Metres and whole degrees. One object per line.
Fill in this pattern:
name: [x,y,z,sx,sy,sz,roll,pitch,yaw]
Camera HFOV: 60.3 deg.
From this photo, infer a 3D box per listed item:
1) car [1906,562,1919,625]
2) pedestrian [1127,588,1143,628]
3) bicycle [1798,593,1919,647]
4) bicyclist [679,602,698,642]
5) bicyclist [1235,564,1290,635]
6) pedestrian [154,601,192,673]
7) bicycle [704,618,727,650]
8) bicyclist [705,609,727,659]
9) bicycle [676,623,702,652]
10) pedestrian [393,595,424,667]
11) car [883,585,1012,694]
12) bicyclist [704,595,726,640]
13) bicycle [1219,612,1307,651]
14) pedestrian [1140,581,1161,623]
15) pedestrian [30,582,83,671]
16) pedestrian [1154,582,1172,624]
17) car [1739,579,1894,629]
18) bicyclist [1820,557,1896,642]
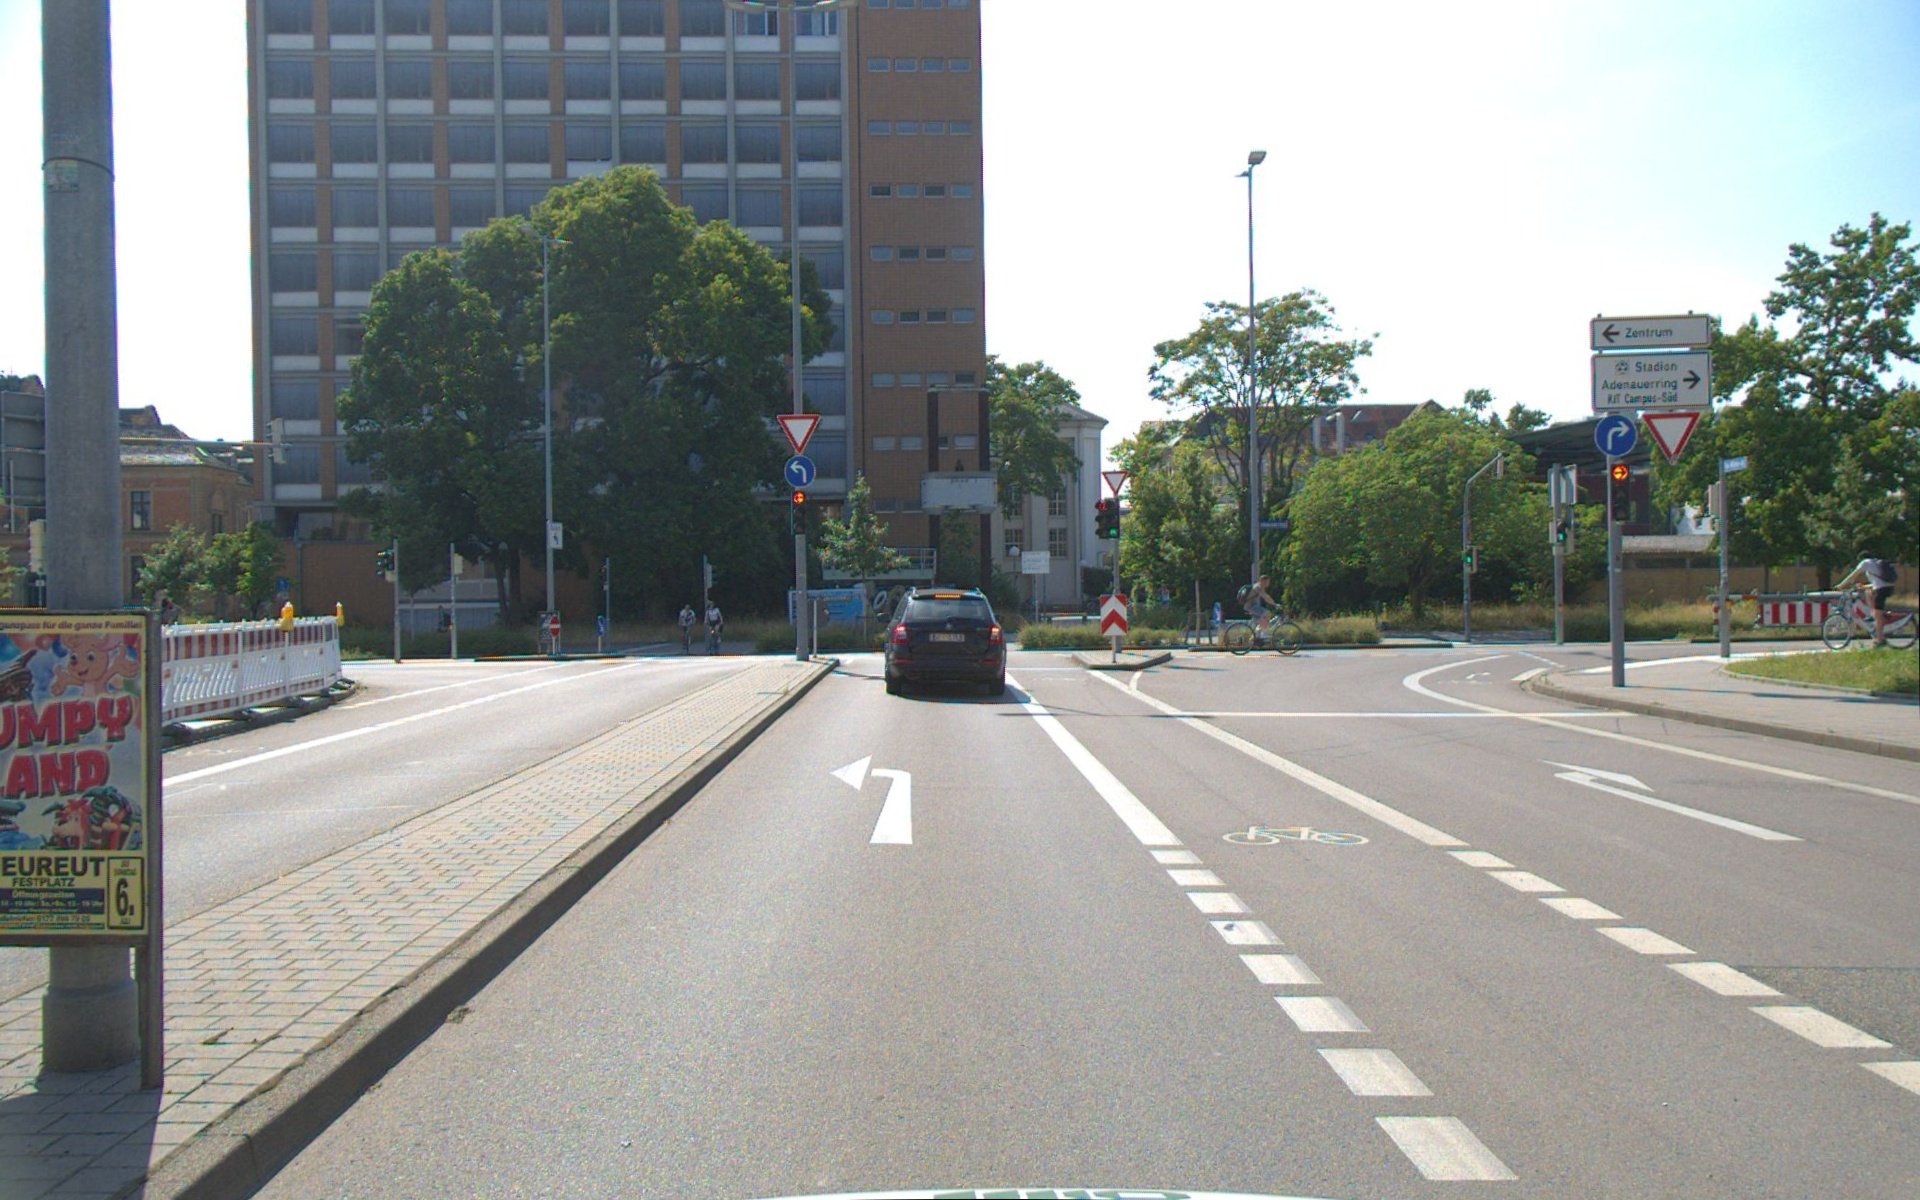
car: [32.870,-0.252,53.013,3.905,2.049,2.000,-1,0,1]
pedestrian: [8.319,0.385,78.582,0.584,1.907,0.639,0,-1,22]
bicycle: [16.414,0.363,29.922,0.669,0.932,2.134,-2,0,-44]
bicyclist: [-9.806,0.795,59.736,0.528,1.441,1.029,-2,-1,-3]
bicyclist: [6.559,-0.006,35.860,1.140,1.500,0.564,-1,0,11]
pedestrian: [-17.001,0.800,35.755,0.621,1.518,0.614,-1,0,-18]
bicycle: [-8.157,1.123,55.260,0.606,0.977,1.965,-3,0,-6]
bicyclist: [-8.157,1.123,55.260,0.606,1.609,1.012,-3,0,-6]
bicycle: [-9.792,1.347,59.760,0.690,0.994,2.029,-1,0,-3]
pedestrian: [-15.824,0.883,47.428,0.610,2.049,0.677,2,-1,-38]
car: [-0.199,0.527,24.458,1.743,1.468,3.817,1,0,-1]
bicyclist: [-8.188,0.582,55.258,0.607,1.468,0.919,-3,0,-6]
bicycle: [6.566,0.682,35.867,1.849,0.806,0.561,-1,1,11]
pedestrian: [9.027,0.100,78.337,0.777,1.907,0.639,-2,0,22]
pedestrian: [-18.632,0.549,34.125,0.724,1.783,1.105,-1,-2,-17]
pedestrian: [9.491,0.141,77.259,0.624,1.907,0.796,-3,0,-2]
car: [27.264,0.146,52.726,3.906,1.490,1.999,-1,-1,-2]
bicyclist: [16.295,-0.005,30.024,0.492,1.496,1.124,2,-1,-44]
